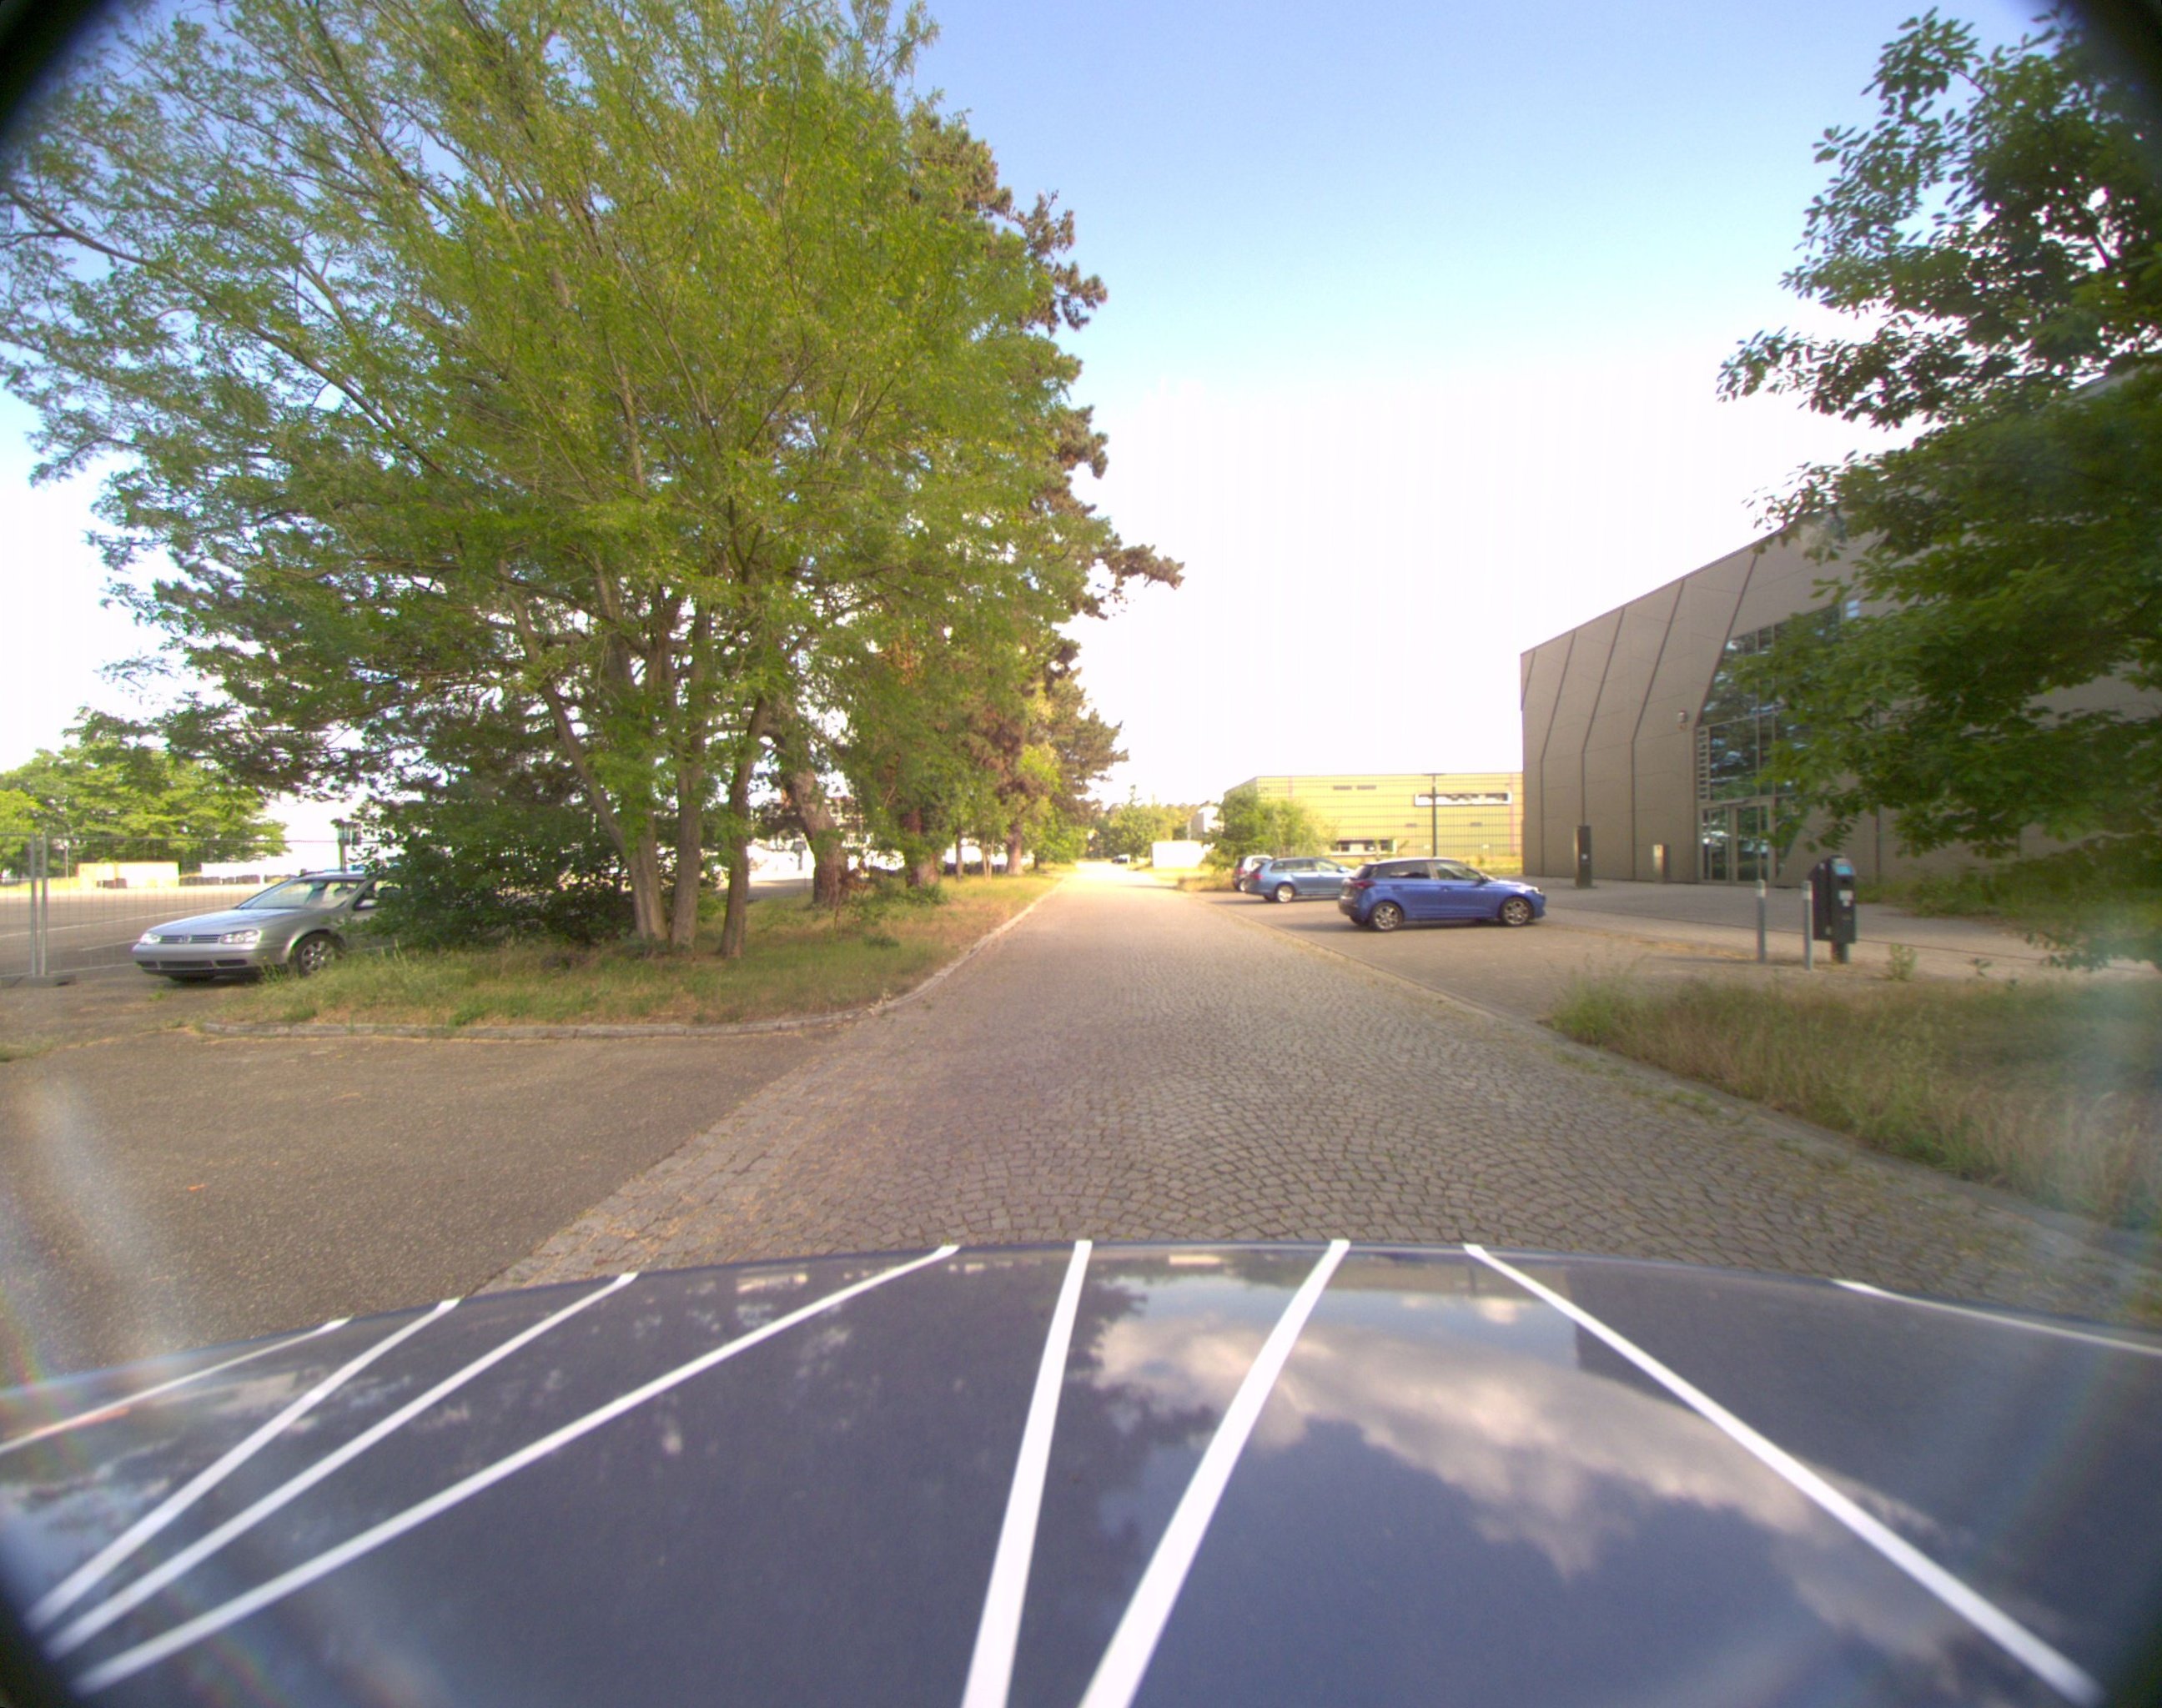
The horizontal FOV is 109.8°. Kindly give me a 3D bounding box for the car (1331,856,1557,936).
[{"bbox_3d":[7.526,0.854,16.077,3.917,1.459,1.735,-2,0,4],"label":"car"}]

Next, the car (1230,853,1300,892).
[{"bbox_3d":[7.939,0.776,32.918,2.652,1.559,1.481,-2,0,0],"label":"car"}]

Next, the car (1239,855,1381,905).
[{"bbox_3d":[7.615,0.839,25.534,4.179,1.465,1.734,-2,0,-1],"label":"car"}]

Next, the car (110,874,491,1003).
[{"bbox_3d":[-11.054,1.084,11.258,1.578,1.435,3.986,-1,0,-2],"label":"car"}]
